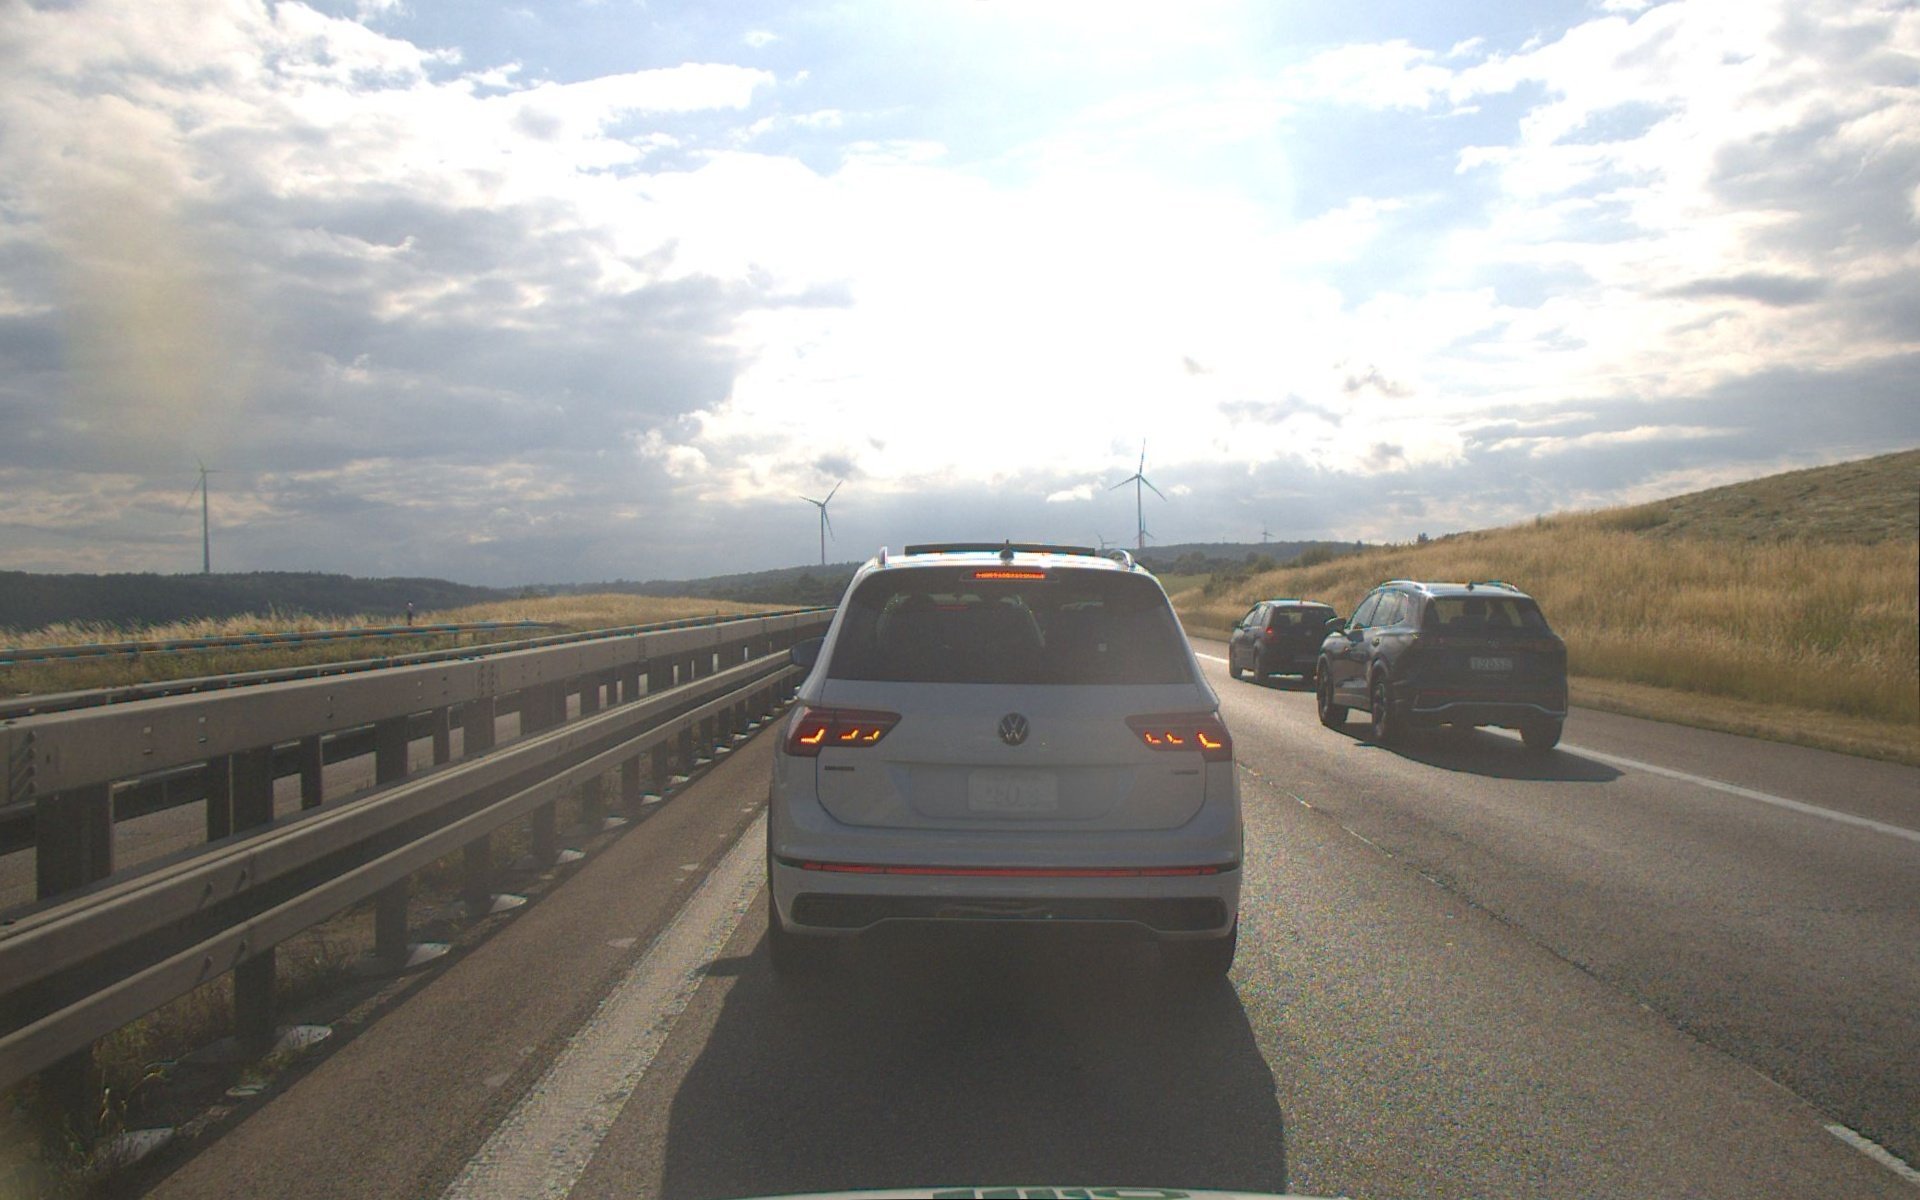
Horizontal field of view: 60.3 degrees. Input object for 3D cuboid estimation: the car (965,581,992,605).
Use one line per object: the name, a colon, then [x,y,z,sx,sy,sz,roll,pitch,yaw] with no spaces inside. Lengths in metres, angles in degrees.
car: [1.216,-0.477,110.851,1.669,1.573,3.999,0,0,-1]

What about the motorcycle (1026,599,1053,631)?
motorcycle: [3.014,0.559,62.822,0.877,1.211,2.256,0,0,-1]

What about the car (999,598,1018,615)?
car: [4.690,0.621,161.520,1.669,1.573,3.999,0,0,-1]

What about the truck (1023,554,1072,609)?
truck: [6.092,-1.314,117.078,3.118,3.656,11.132,0,1,1]

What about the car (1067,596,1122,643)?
car: [4.951,0.694,61.284,1.669,1.679,3.999,0,0,-1]

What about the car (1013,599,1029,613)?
car: [7.080,0.662,191.962,1.669,1.573,3.999,0,0,-1]

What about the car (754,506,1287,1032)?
car: [0.176,0.553,7.389,1.734,1.705,3.999,0,0,-1]

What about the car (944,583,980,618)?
car: [0.073,0.018,80.966,1.669,1.679,3.999,0,0,-1]

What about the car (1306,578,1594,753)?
car: [5.154,0.633,18.001,1.784,1.629,4.234,2,0,-1]

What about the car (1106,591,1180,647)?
car: [5.295,0.540,48.355,1.669,1.573,3.999,0,0,-1]

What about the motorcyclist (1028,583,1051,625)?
motorcyclist: [3.018,0.160,62.778,0.832,1.587,0.934,0,0,-1]

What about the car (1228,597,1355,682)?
car: [5.950,0.672,30.053,1.573,1.445,3.672,0,0,0]
